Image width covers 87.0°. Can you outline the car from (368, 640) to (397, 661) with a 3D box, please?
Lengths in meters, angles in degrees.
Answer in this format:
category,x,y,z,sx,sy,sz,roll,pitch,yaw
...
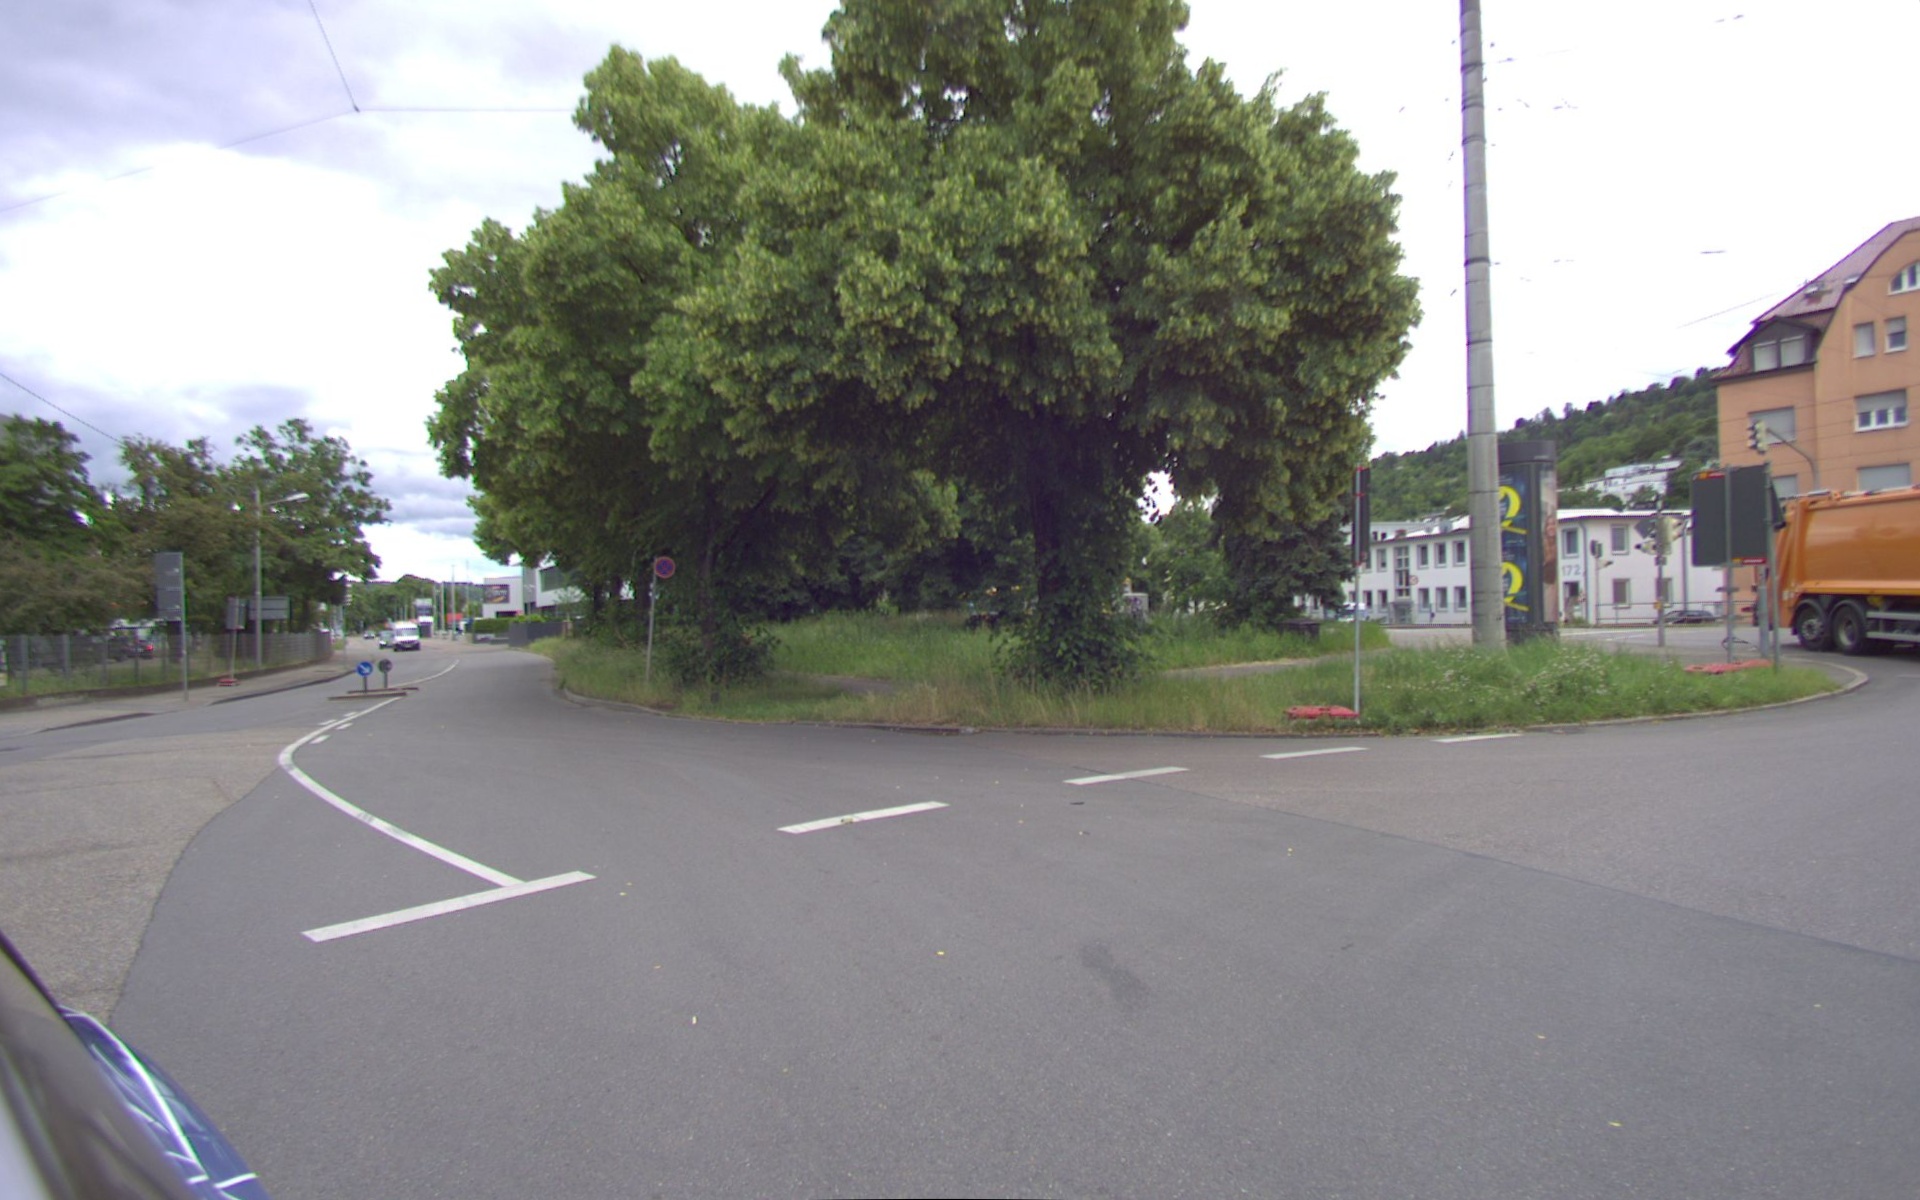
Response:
category,x,y,z,sx,sy,sz,roll,pitch,yaw
car,-57.234,4.934,100.335,2.349,1.884,5.223,-2,-1,-29

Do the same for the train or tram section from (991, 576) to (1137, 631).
category,x,y,z,sx,sy,sz,roll,pitch,yaw
train or tram section,7.517,0.478,78.984,3.221,3.693,19.235,-2,-1,-20

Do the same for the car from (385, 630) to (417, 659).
category,x,y,z,sx,sy,sz,roll,pitch,yaw
car,-50.223,3.964,90.977,2.349,2.477,6.119,-2,-1,-29

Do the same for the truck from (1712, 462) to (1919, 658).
category,x,y,z,sx,sy,sz,roll,pitch,yaw
truck,19.033,-0.779,19.542,2.767,3.553,10.389,-2,0,10

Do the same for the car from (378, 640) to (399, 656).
category,x,y,z,sx,sy,sz,roll,pitch,yaw
car,-74.762,6.275,132.428,2.349,1.884,5.223,-2,-1,-29
